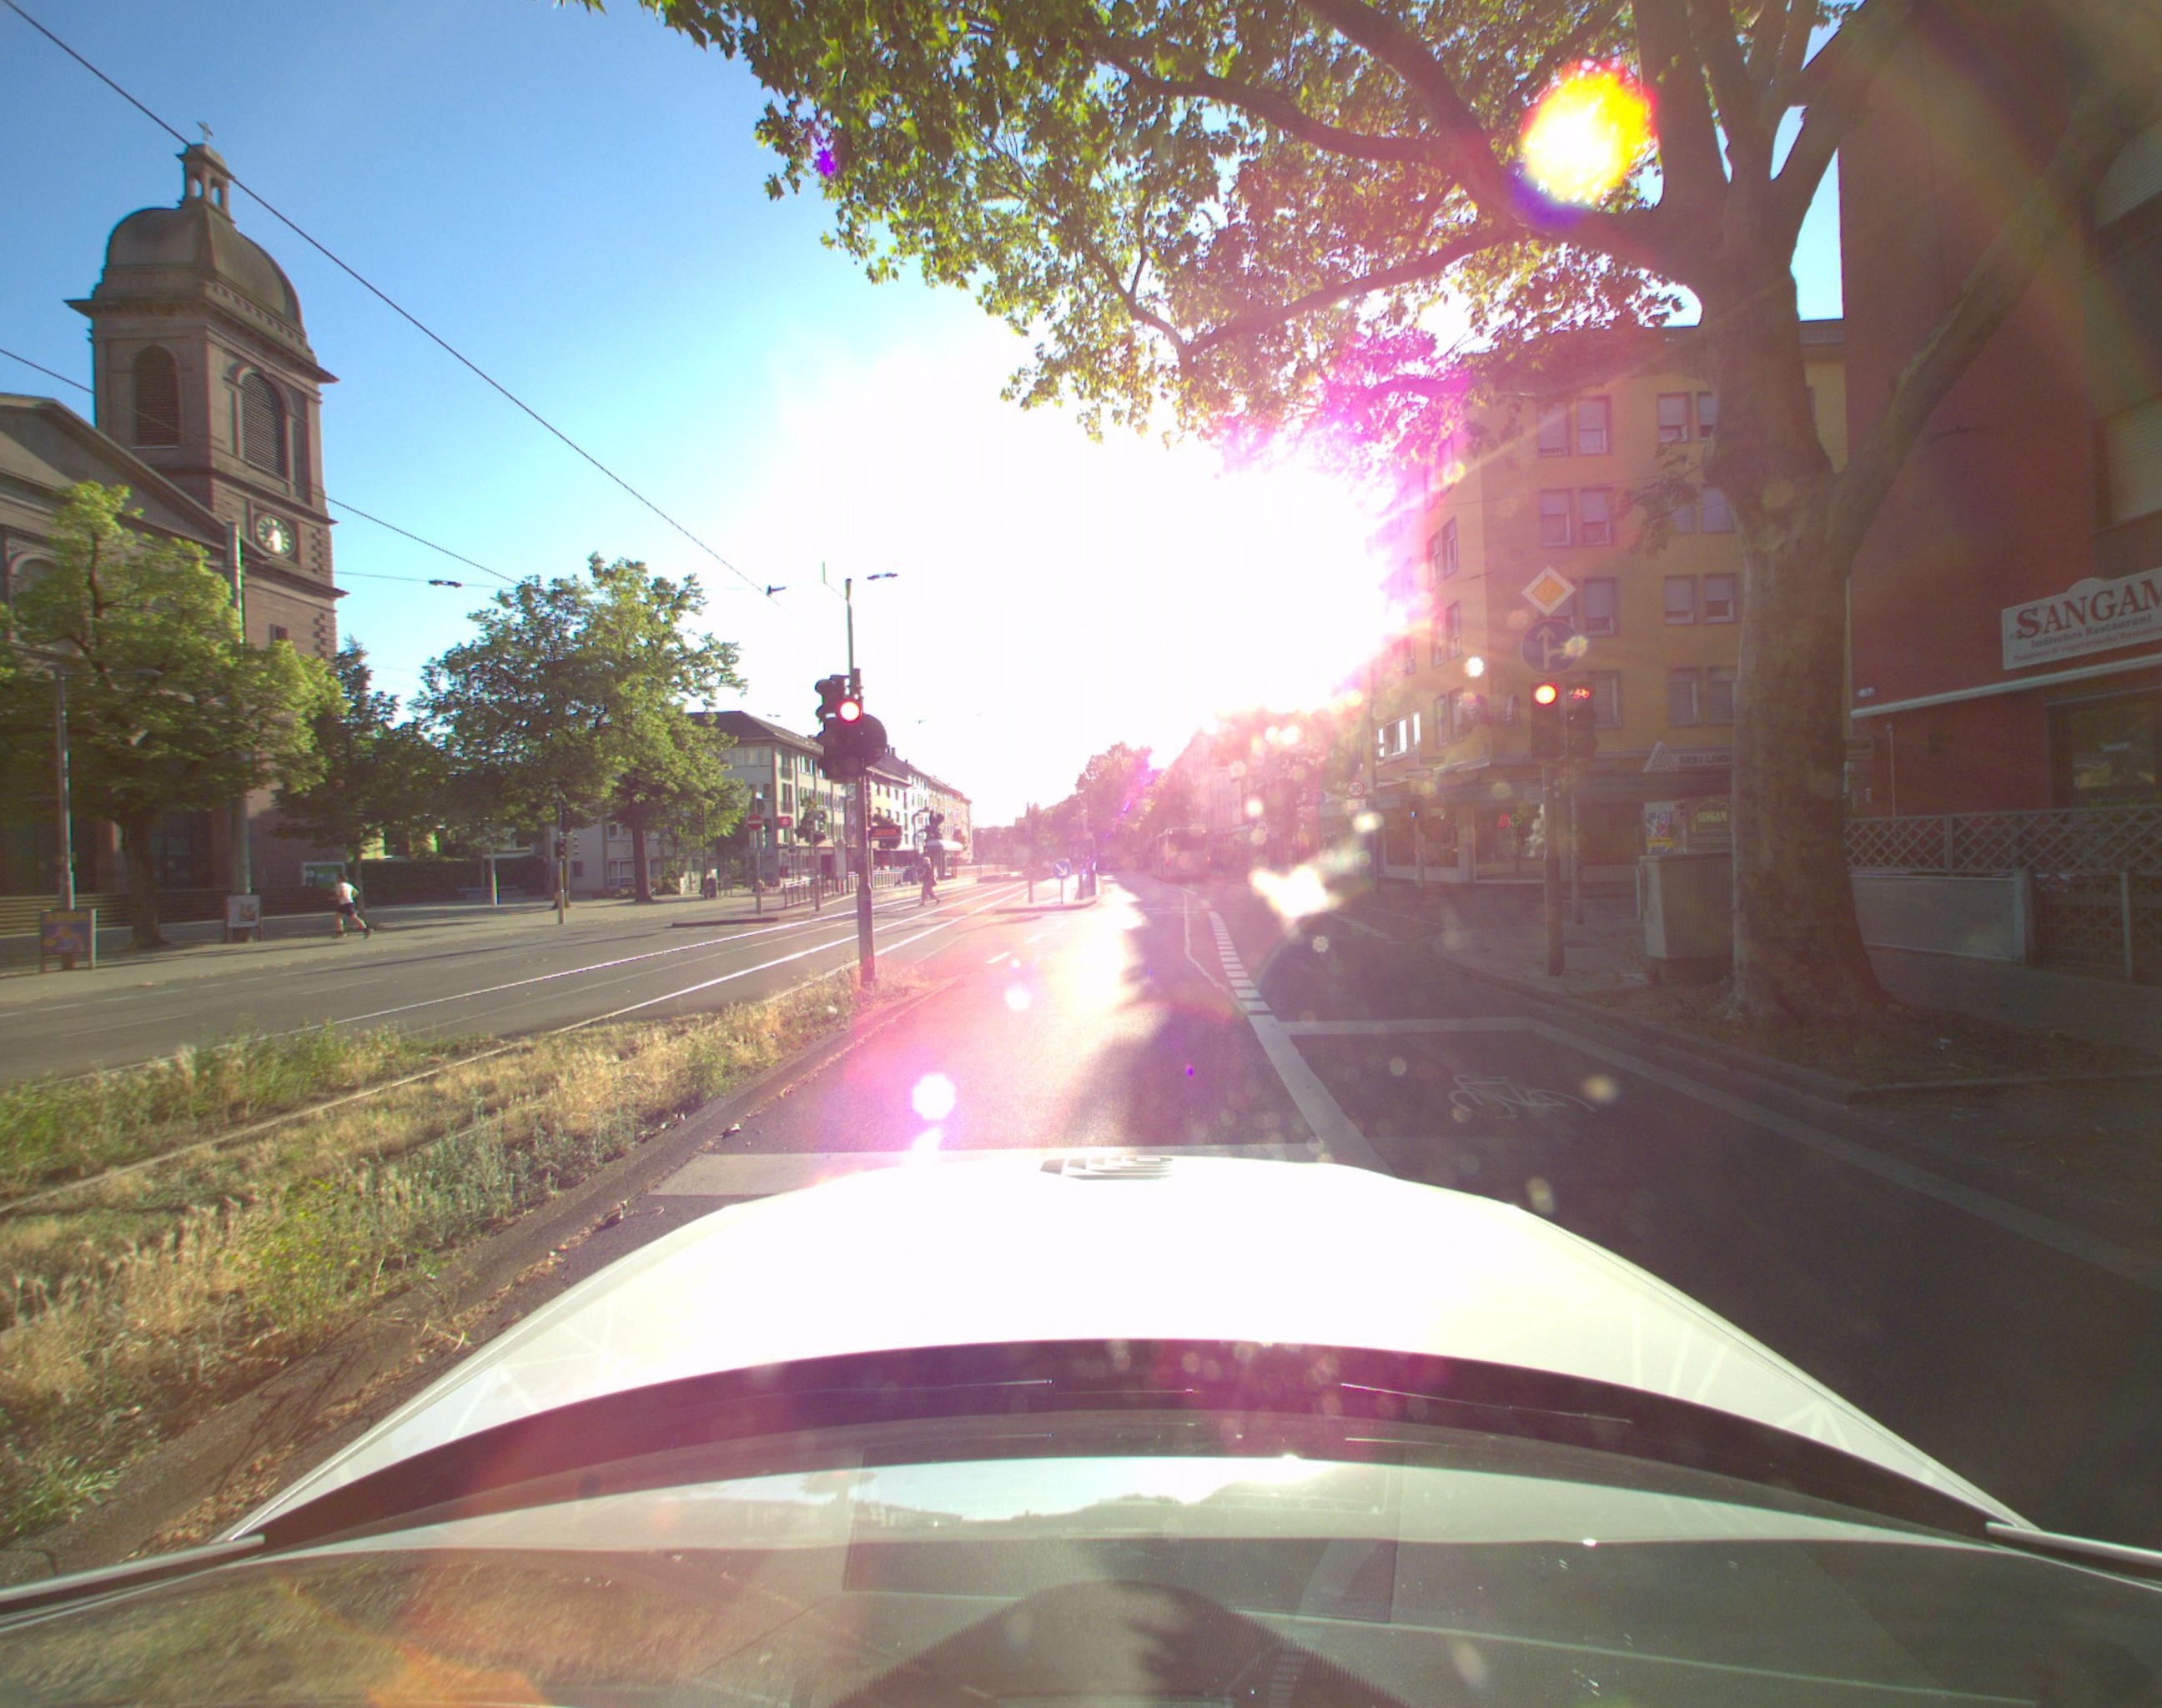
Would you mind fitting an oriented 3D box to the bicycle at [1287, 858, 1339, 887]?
[{"bbox_3d":[8.900,0.704,31.251,1.766,1.021,0.694,-4,-1,1],"label":"bicycle"}]

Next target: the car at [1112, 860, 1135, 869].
[{"bbox_3d":[8.300,2.060,158.812,3.911,1.699,1.817,-2,0,-27],"label":"car"}]

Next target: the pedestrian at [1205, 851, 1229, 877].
[{"bbox_3d":[9.164,0.659,54.965,1.151,1.660,1.178,-2,0,-19],"label":"pedestrian"}]

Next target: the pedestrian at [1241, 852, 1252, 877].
[{"bbox_3d":[10.981,0.706,54.057,0.674,1.628,0.656,0,-1,2],"label":"pedestrian"}]

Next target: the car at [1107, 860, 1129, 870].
[{"bbox_3d":[7.312,2.142,161.482,3.911,1.699,1.817,-2,0,-27],"label":"car"}]

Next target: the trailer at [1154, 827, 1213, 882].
[{"bbox_3d":[6.108,0.059,50.024,2.801,3.110,8.797,0,0,2],"label":"trailer"}]

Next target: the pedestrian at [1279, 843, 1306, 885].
[{"bbox_3d":[10.861,0.503,41.846,0.951,2.013,0.917,-6,0,0],"label":"pedestrian"}]

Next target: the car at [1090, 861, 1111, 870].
[{"bbox_3d":[4.053,2.320,166.541,3.911,1.596,1.676,-2,0,-27],"label":"car"}]

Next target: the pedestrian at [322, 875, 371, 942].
[{"bbox_3d":[-20.312,1.490,22.535,0.679,1.770,0.686,-2,0,-5],"label":"pedestrian"}]

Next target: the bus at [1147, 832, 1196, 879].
[{"bbox_3d":[6.423,0.121,58.975,2.801,3.101,9.097,0,0,2],"label":"bus"}]

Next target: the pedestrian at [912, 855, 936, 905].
[{"bbox_3d":[-5.661,0.920,29.389,0.677,1.770,0.687,-2,0,2],"label":"pedestrian"}]
